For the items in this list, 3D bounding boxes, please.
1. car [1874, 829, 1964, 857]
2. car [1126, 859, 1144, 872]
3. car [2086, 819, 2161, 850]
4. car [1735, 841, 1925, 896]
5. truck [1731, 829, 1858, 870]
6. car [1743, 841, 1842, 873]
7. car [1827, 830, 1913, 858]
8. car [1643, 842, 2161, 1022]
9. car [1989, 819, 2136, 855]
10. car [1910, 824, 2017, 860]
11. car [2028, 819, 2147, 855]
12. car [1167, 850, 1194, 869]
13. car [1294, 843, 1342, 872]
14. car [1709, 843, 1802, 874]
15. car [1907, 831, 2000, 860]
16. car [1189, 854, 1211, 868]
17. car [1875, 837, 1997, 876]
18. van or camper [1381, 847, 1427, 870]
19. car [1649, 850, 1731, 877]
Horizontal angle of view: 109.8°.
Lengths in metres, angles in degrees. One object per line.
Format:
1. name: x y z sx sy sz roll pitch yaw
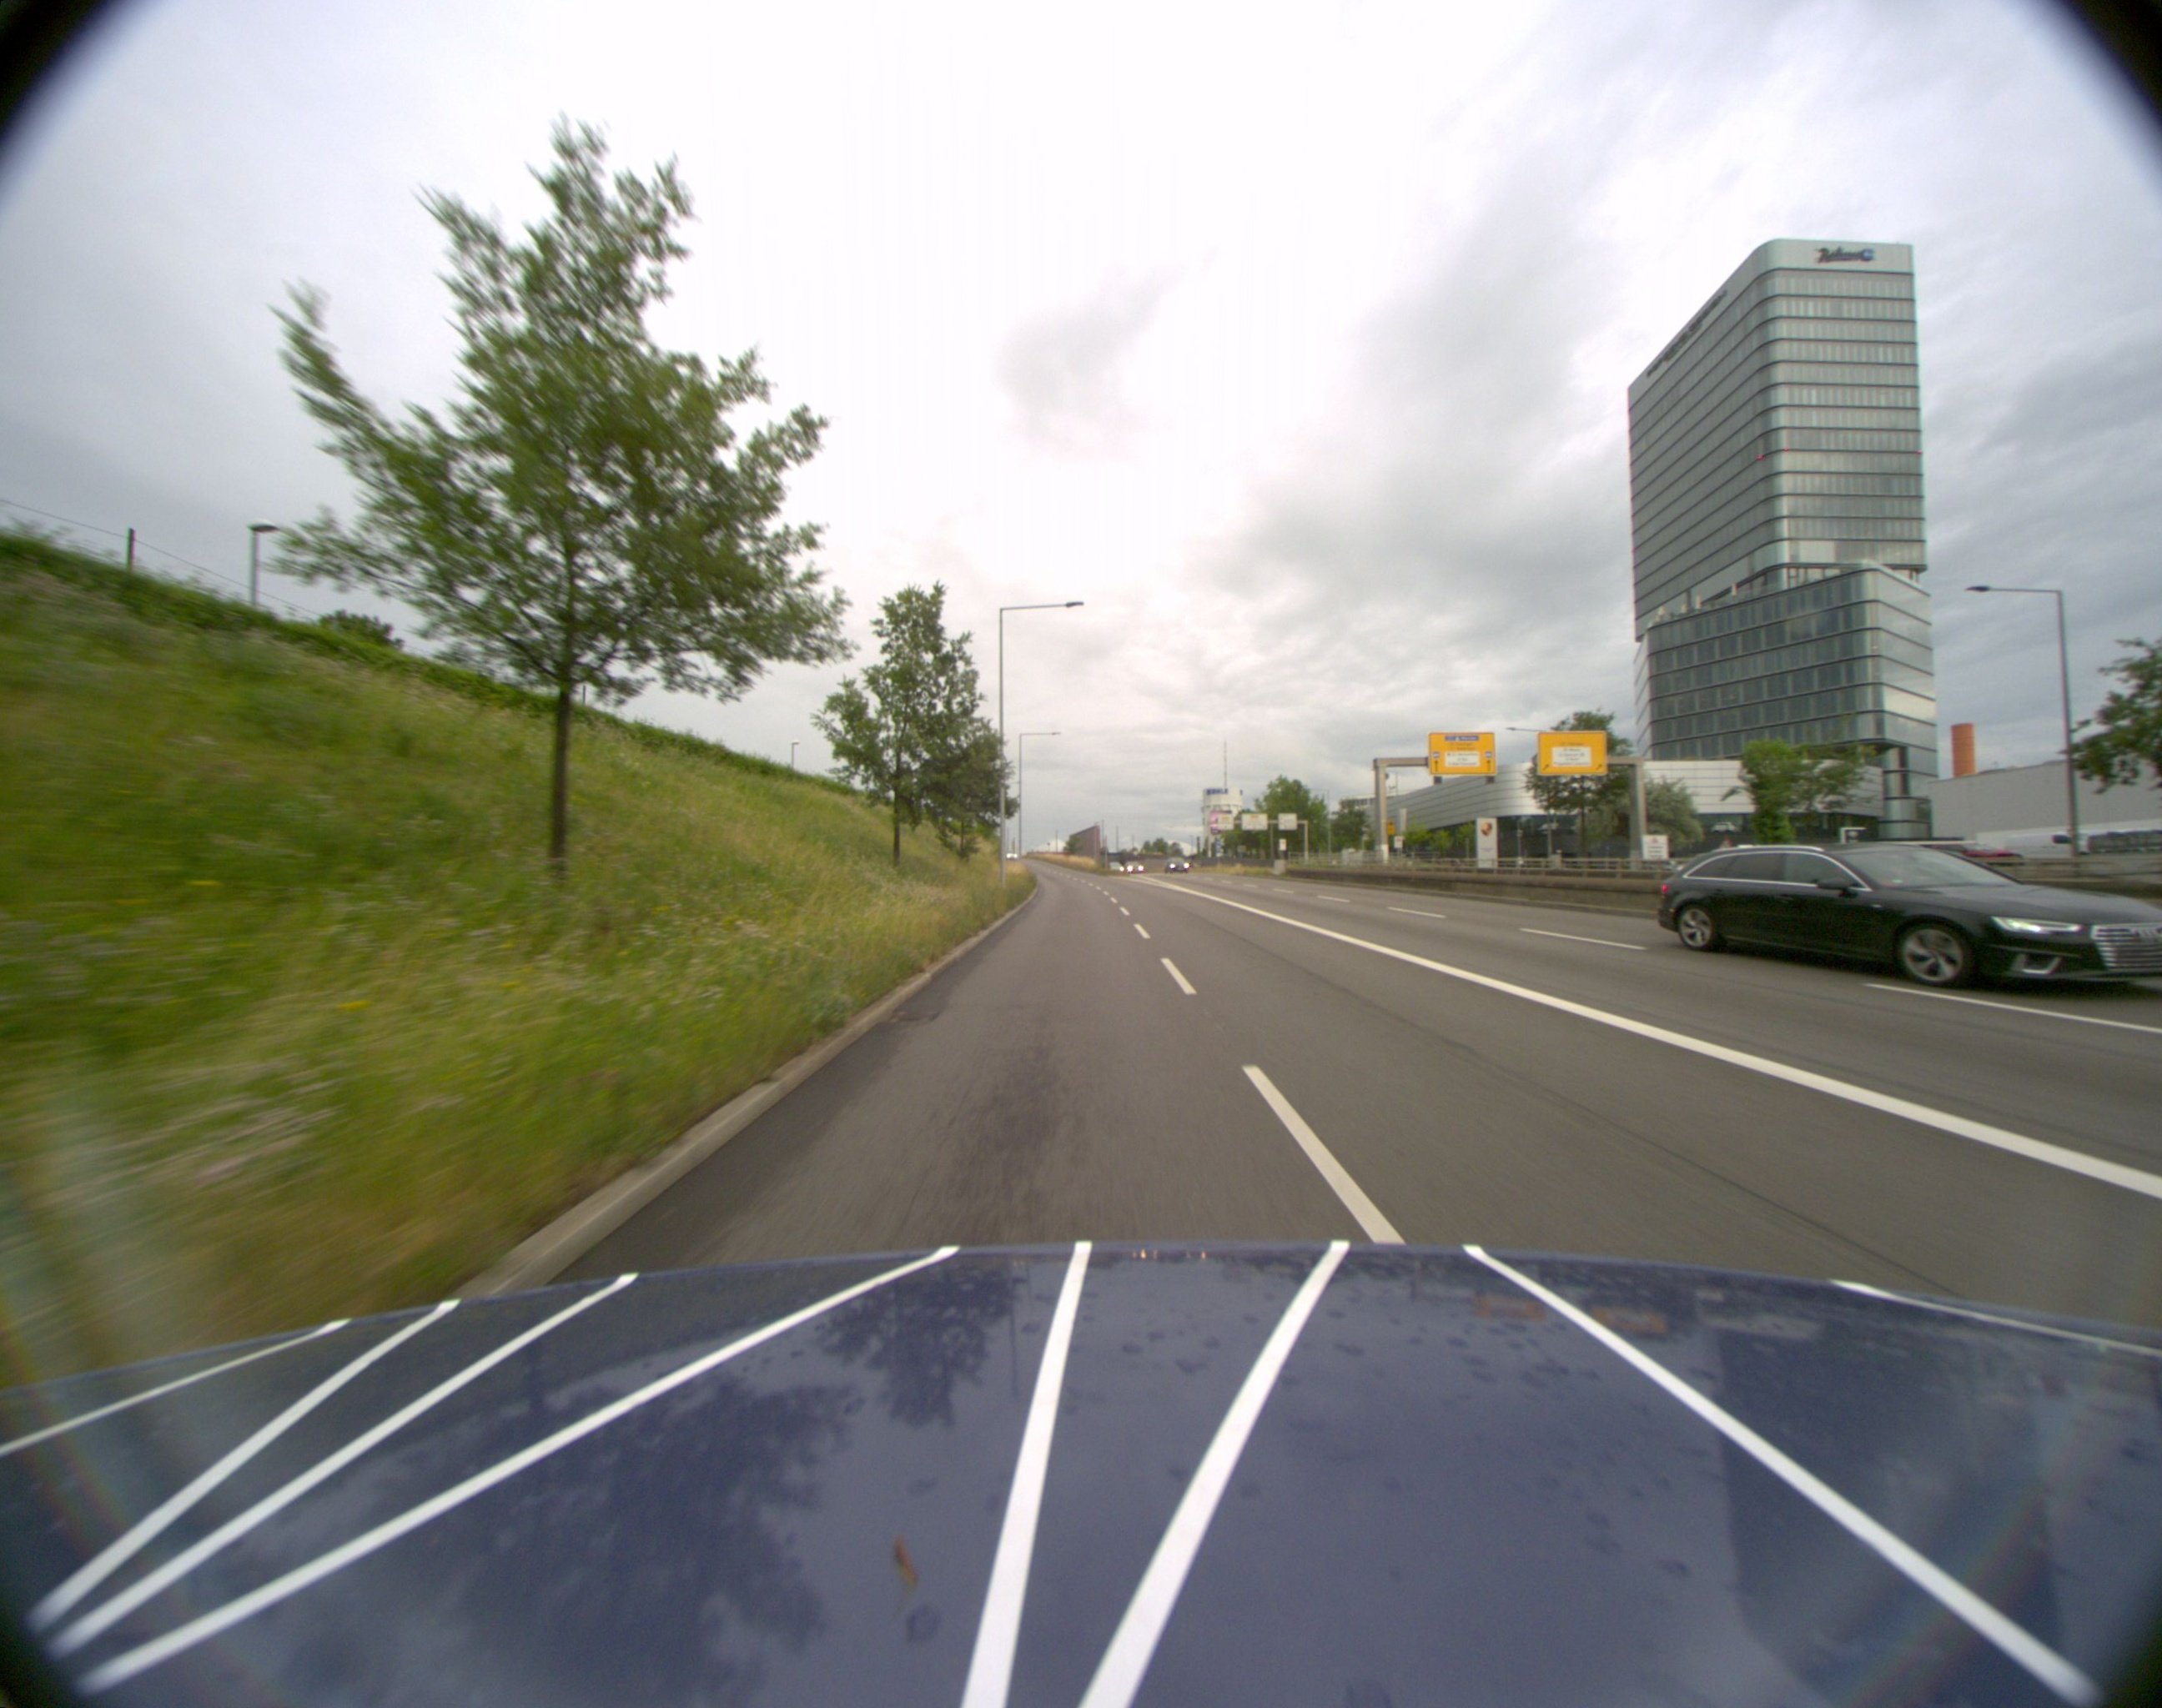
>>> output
1. car: 57.635 -0.713 52.356 1.921 1.673 4.003 -3 -2 6
2. car: 6.905 1.433 97.108 1.872 1.622 3.999 -1 0 -1
3. car: 63.727 -1.198 45.473 1.921 1.673 4.003 -3 -2 6
4. car: 23.183 0.382 23.774 1.999 1.576 3.999 0 1 0
5. truck: 51.683 -0.239 55.377 2.371 2.512 7.415 -3 -2 3
6. car: 42.364 0.188 45.311 3.997 1.673 1.924 -3 -2 1
7. car: 54.788 -0.675 52.868 1.921 1.673 4.003 -3 -2 6
8. car: 8.951 0.626 8.568 1.814 1.411 4.631 -3 0 1
9. car: 58.701 -0.959 45.666 1.998 1.870 5.539 -3 -1 6
10. car: 53.132 -0.701 45.879 1.906 1.870 4.004 -3 -2 6
11. car: 61.179 -0.975 46.312 1.998 1.870 4.004 -3 -2 6
12. car: 9.211 0.497 70.818 1.872 1.622 3.999 -1 0 -1
13. car: 14.641 0.221 47.097 1.692 1.580 3.550 -3 -2 -2
14. car: 42.310 0.295 47.733 3.997 1.673 1.924 -3 -2 1
15. car: 59.811 -0.542 52.200 1.921 1.673 4.003 -3 -2 6
16. car: 16.330 0.982 104.620 1.815 1.819 4.629 -3 0 -4
17. car: 41.650 0.166 37.199 1.919 1.673 4.510 -3 -2 19
18. van or camper: 26.928 0.392 63.437 1.869 1.647 3.949 -3 -2 -3
19. car: 42.196 0.667 52.708 3.997 1.673 1.924 -3 -2 1
